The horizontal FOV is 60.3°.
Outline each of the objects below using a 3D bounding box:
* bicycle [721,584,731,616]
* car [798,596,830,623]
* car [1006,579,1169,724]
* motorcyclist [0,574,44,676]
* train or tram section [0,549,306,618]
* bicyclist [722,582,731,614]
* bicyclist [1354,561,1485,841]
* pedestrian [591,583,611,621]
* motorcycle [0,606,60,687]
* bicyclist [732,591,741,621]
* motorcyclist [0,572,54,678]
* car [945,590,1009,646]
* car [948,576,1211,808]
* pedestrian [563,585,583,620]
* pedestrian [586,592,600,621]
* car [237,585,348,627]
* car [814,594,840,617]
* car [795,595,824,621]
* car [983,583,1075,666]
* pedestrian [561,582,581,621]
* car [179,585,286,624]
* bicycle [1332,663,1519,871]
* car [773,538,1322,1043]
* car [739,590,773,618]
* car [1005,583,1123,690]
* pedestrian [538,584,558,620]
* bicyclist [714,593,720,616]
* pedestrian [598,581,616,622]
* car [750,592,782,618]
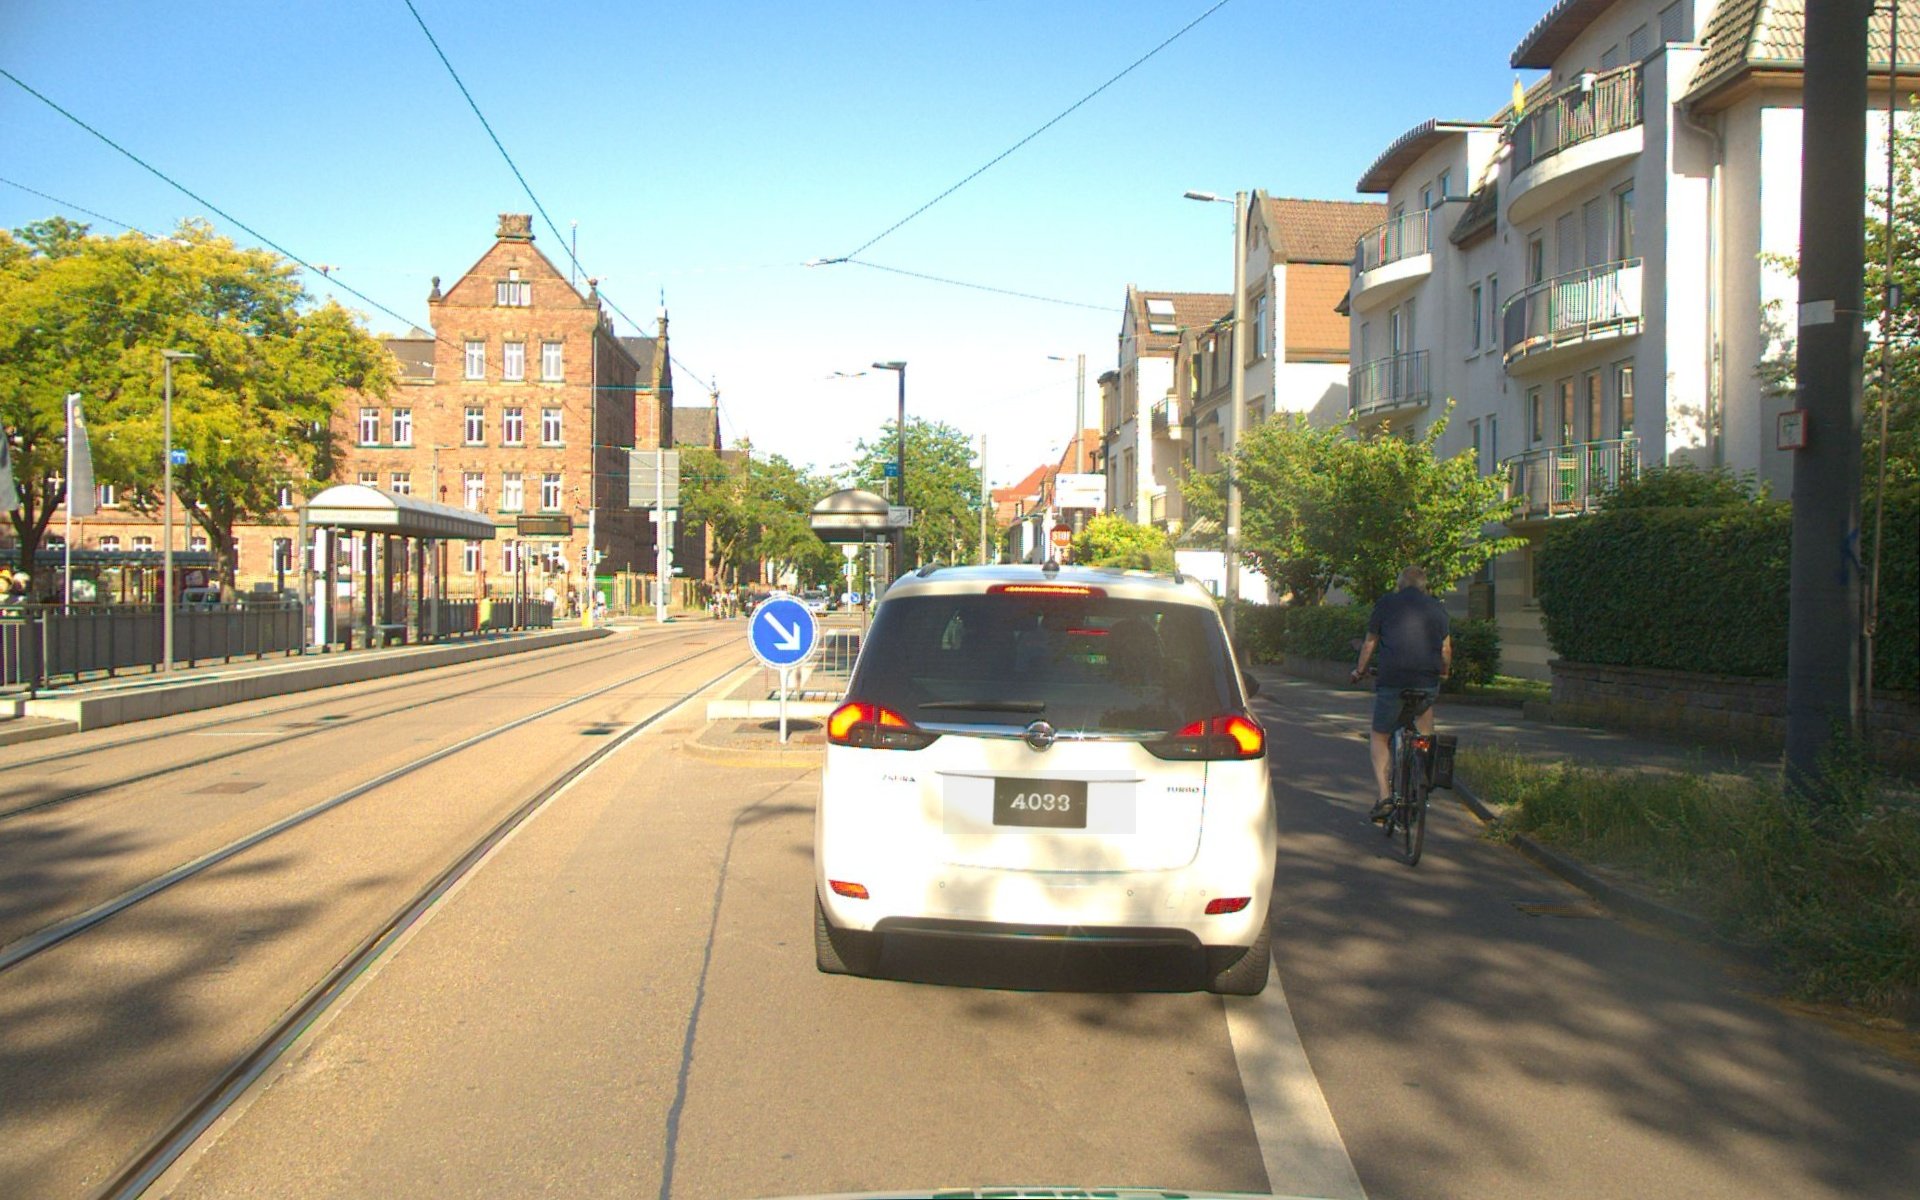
[{"bbox_3d":[-15.375,-0.003,108.752,0.477,2.049,1.405,0,0,-1],"label":"bicycle"},{"bbox_3d":[-9.438,0.610,107.209,1.711,1.746,3.999,1,0,-1],"label":"car"},{"bbox_3d":[1.681,0.582,21.013,1.866,1.653,4.003,0,0,6],"label":"car"},{"bbox_3d":[-13.736,0.356,23.987,0.671,1.466,0.445,0,0,-10],"label":"motorcyclist"},{"bbox_3d":[-40.738,-0.770,79.434,17.048,3.210,3.343,0,0,-6],"label":"train or tram section"},{"bbox_3d":[-15.377,-0.128,108.775,0.488,2.049,0.572,0,0,-1],"label":"bicyclist"},{"bbox_3d":[2.908,0.617,10.522,0.603,1.716,0.779,0,0,-1],"label":"bicyclist"},{"bbox_3d":[-19.244,0.104,88.676,0.789,2.049,0.711,1,-1,-38],"label":"pedestrian"},{"bbox_3d":[-13.747,0.659,24.022,0.598,1.112,1.852,0,0,-10],"label":"motorcycle"},{"bbox_3d":[-15.084,0.416,111.693,0.478,2.049,0.502,1,-1,-1],"label":"bicyclist"},{"bbox_3d":[-13.816,0.369,24.455,0.595,1.542,0.465,0,0,-11],"label":"motorcyclist"},{"bbox_3d":[0.509,0.548,53.088,1.869,1.690,3.998,0,0,-2],"label":"car"},{"bbox_3d":[1.068,0.642,13.780,1.866,1.625,4.003,0,0,6],"label":"car"},{"bbox_3d":[-21.498,0.158,91.911,0.791,1.934,0.744,1,-1,18],"label":"pedestrian"},{"bbox_3d":[-21.085,0.361,95.001,0.640,1.640,0.711,1,-1,1],"label":"pedestrian"},{"bbox_3d":[-28.107,0.260,69.756,3.908,1.658,1.817,1,0,-4],"label":"car"},{"bbox_3d":[-10.337,0.432,128.907,1.711,1.746,3.999,1,0,-1],"label":"car"},{"bbox_3d":[-10.454,0.587,115.051,1.711,1.746,3.999,1,0,-1],"label":"car"},{"bbox_3d":[1.449,0.497,36.125,1.868,1.690,4.000,0,0,0],"label":"car"},{"bbox_3d":[-20.698,0.076,88.032,0.788,2.049,0.712,1,-1,-34],"label":"pedestrian"},{"bbox_3d":[-32.437,0.212,73.830,3.908,1.658,1.817,1,0,-4],"label":"car"},{"bbox_3d":[2.914,1.005,10.552,0.611,1.116,1.973,0,0,-1],"label":"bicycle"},{"bbox_3d":[0.505,0.627,7.644,1.866,1.690,4.003,0,0,6],"label":"car"},{"bbox_3d":[-13.145,0.288,106.842,1.711,1.746,3.999,1,0,-1],"label":"car"},{"bbox_3d":[1.791,0.571,28.292,1.867,1.690,4.002,0,0,4],"label":"car"},{"bbox_3d":[-22.095,0.120,88.684,0.791,1.934,0.744,1,-1,13],"label":"pedestrian"},{"bbox_3d":[-15.091,0.281,102.811,0.307,1.469,0.384,0,0,-1],"label":"bicyclist"},{"bbox_3d":[-18.071,0.080,84.701,0.782,2.049,0.717,1,-1,-18],"label":"pedestrian"},{"bbox_3d":[-13.290,0.347,113.506,1.711,1.746,3.999,1,0,-1],"label":"car"}]
